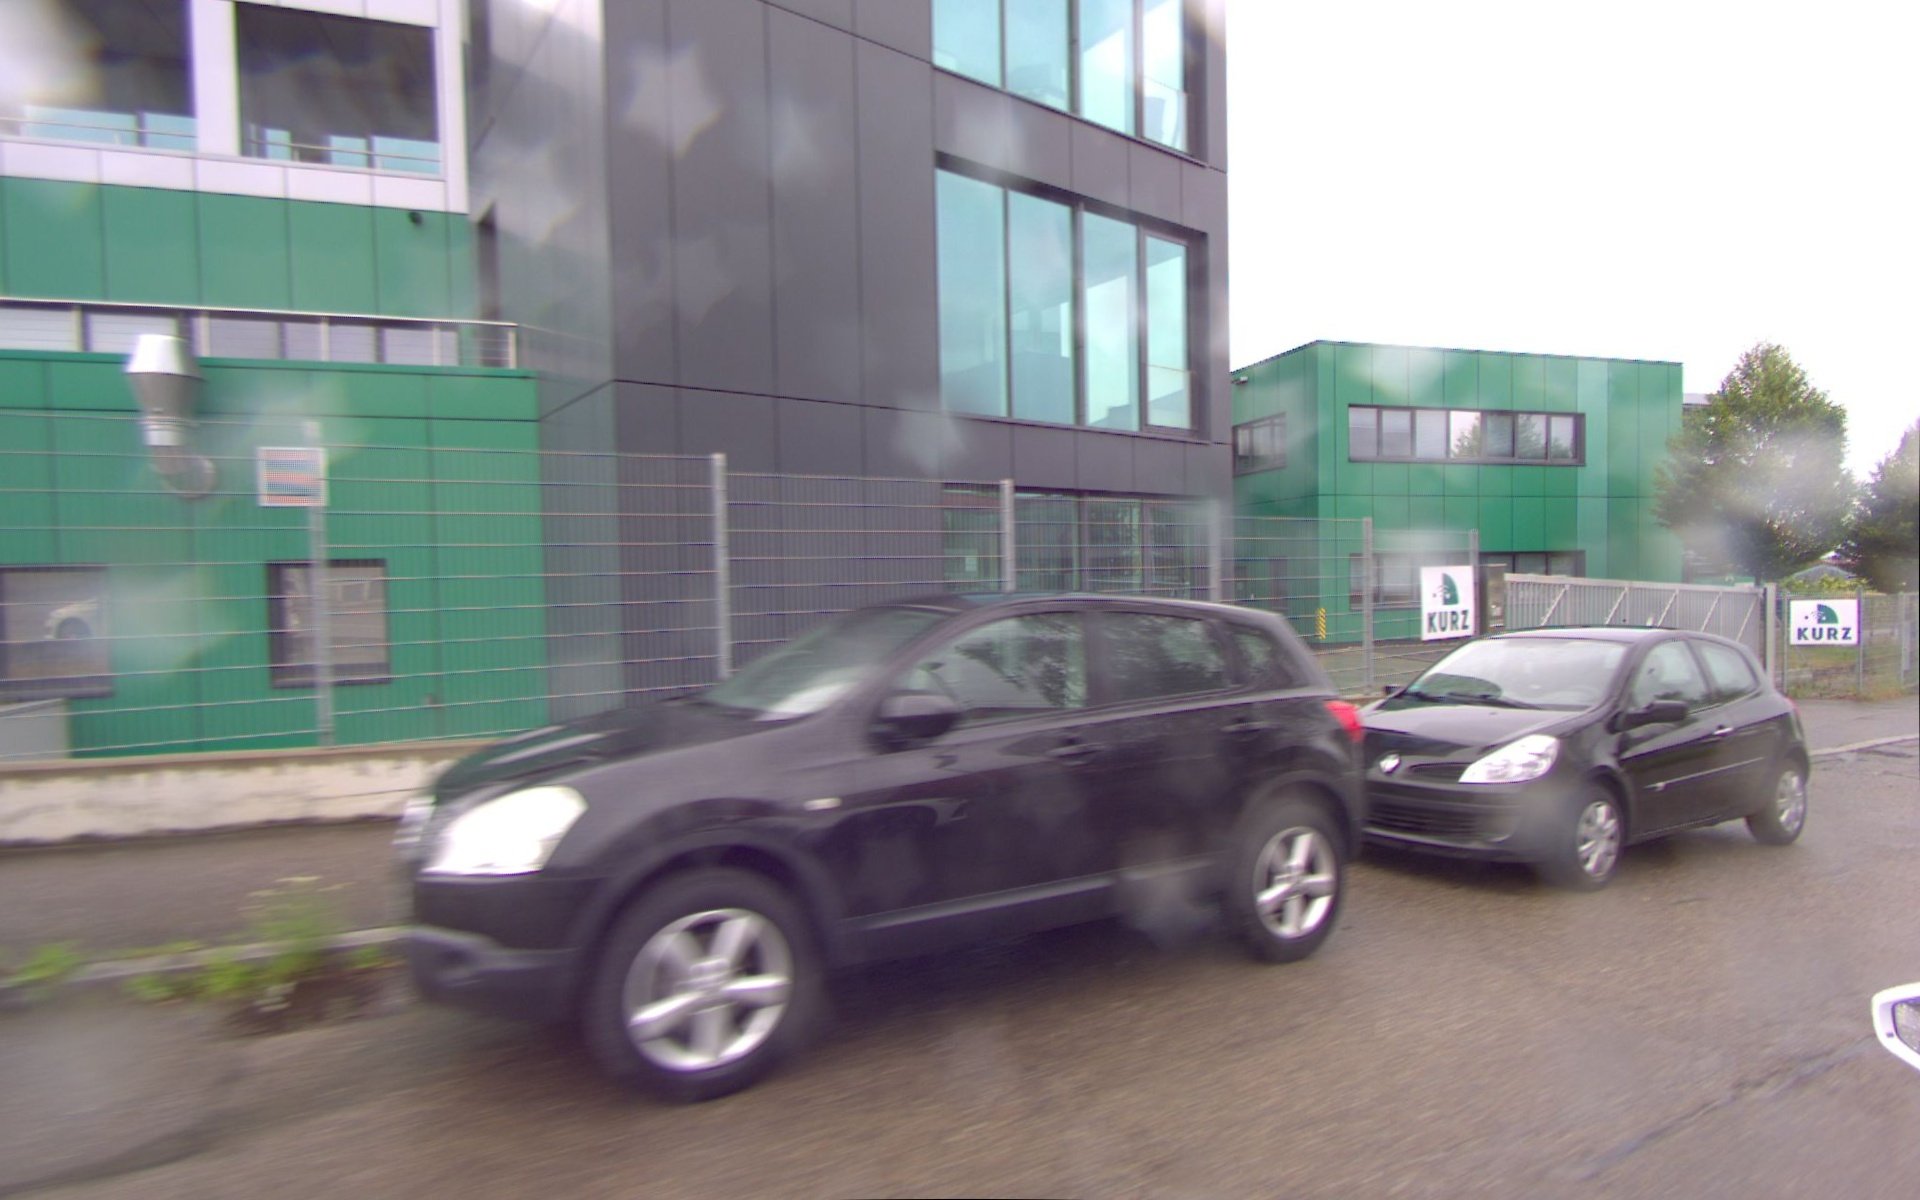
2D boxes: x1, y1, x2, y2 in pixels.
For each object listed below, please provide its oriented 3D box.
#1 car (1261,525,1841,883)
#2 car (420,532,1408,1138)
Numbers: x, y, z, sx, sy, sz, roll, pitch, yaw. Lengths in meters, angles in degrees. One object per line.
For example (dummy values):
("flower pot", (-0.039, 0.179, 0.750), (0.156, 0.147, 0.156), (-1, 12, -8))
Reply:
("car", (4.105, 0.578, 6.858), (3.912, 1.821, 1.731), (2, -1, -30))
("car", (-0.022, 0.659, 4.381), (4.037, 1.578, 1.624), (1, -1, -31))
